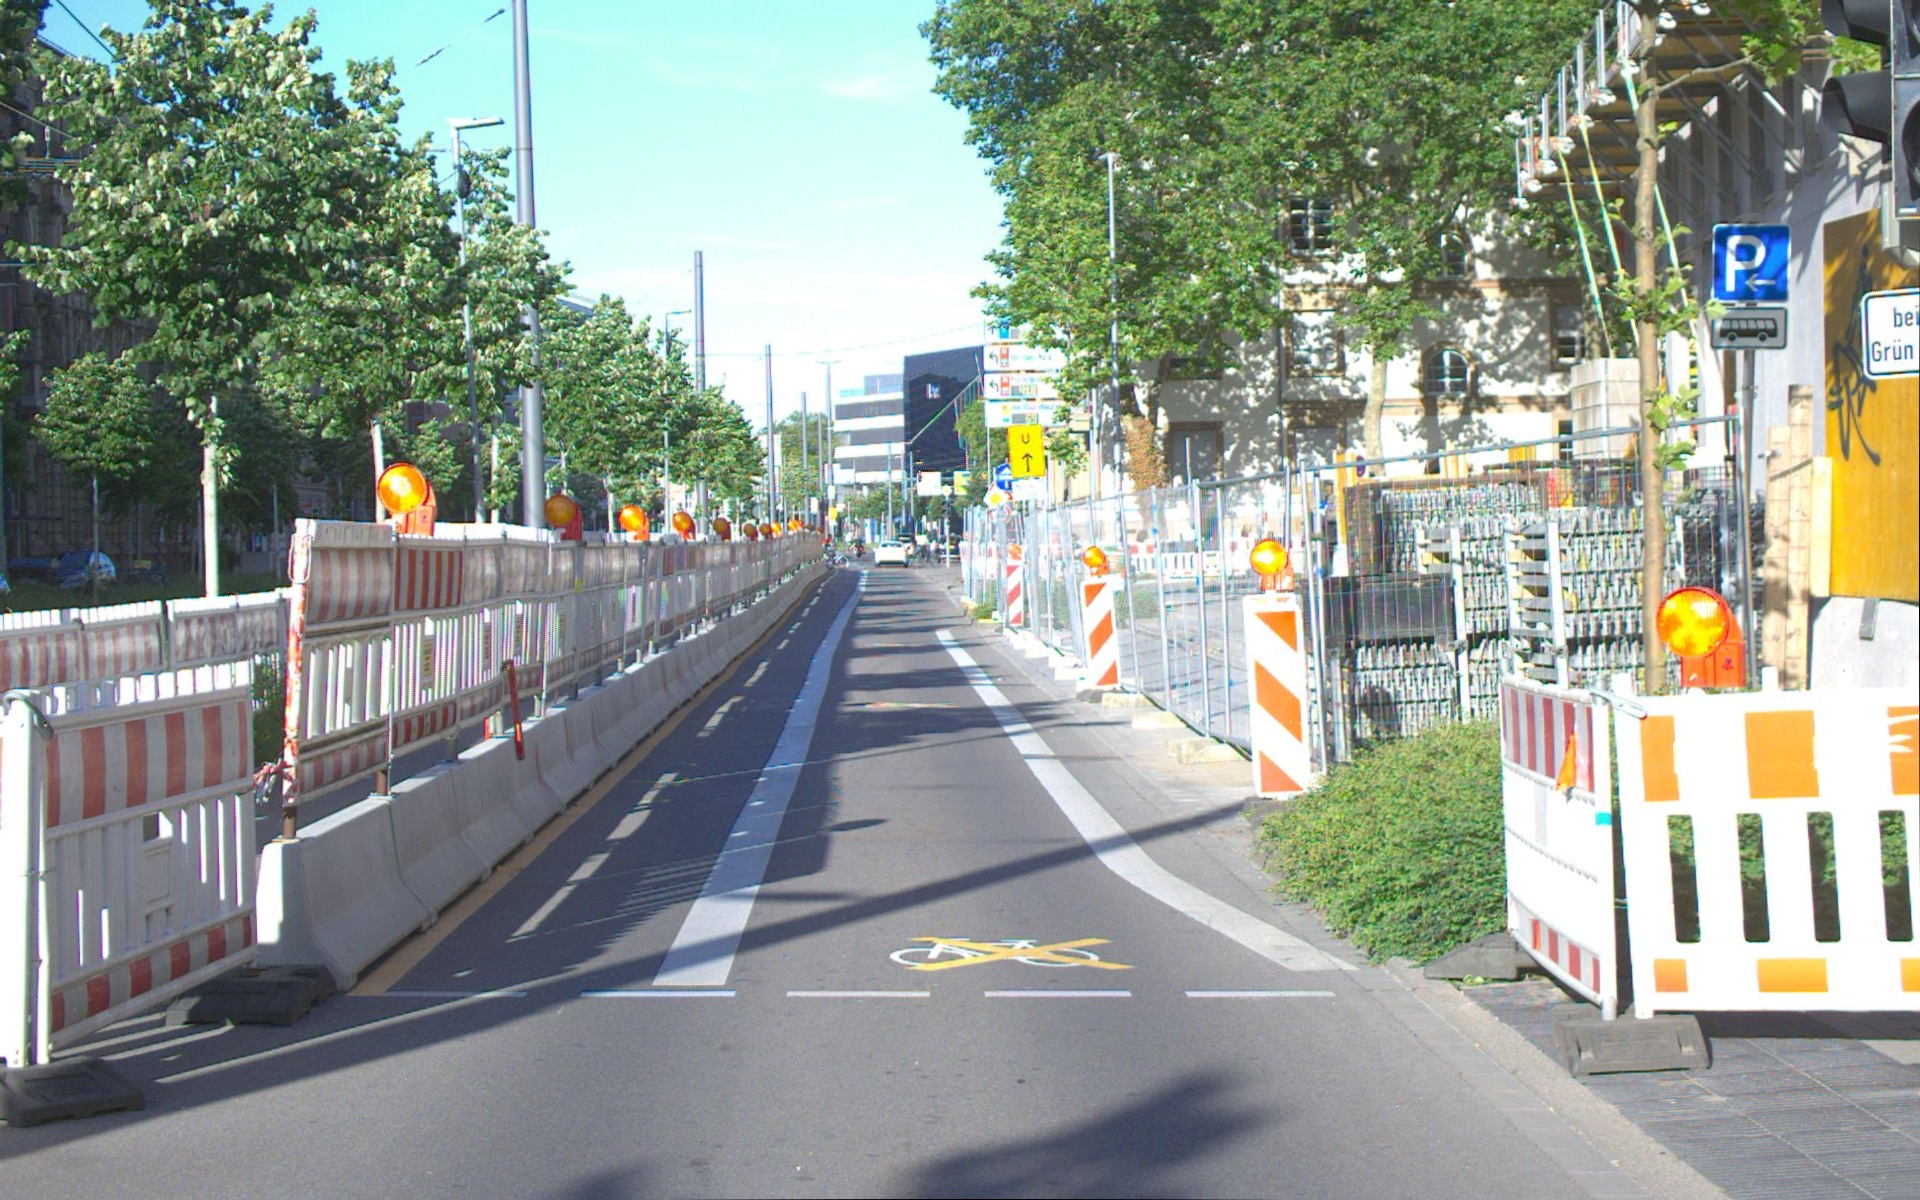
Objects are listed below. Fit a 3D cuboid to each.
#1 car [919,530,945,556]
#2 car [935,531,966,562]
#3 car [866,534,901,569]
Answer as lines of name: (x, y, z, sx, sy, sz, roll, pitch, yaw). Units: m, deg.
car: (-2.083, -4.266, 256.958, 1.883, 1.836, 3.668, -1, 1, -1)
car: (-0.605, -3.363, 215.859, 1.883, 1.836, 3.668, -1, 1, -1)
car: (-4.253, -2.714, 191.896, 1.883, 1.836, 3.668, -1, 1, -1)
